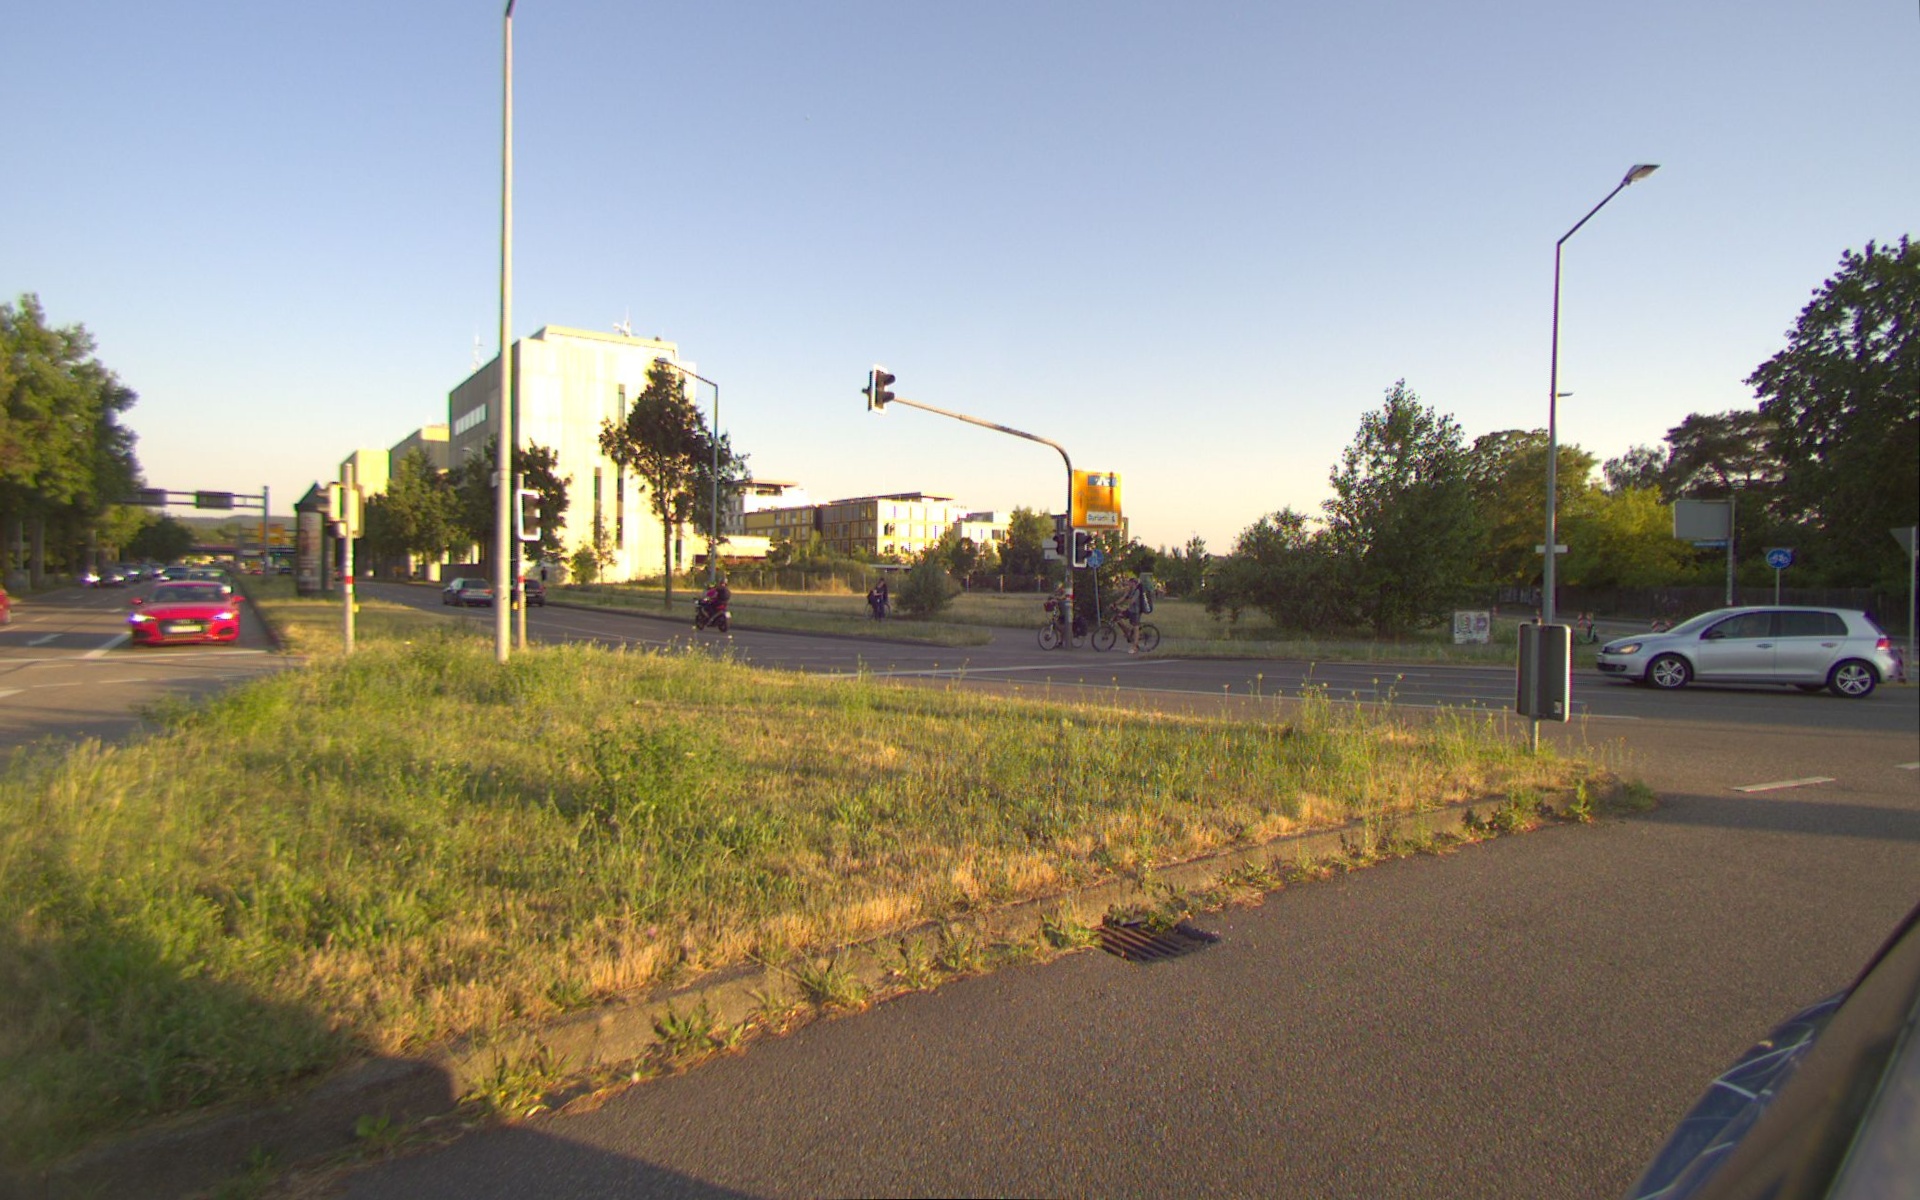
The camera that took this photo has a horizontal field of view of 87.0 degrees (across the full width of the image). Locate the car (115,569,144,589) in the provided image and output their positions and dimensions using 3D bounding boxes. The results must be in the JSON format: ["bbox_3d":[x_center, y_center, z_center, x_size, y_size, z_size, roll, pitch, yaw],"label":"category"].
[{"bbox_3d":[-66.681,-1.723,81.262,1.589,1.537,3.716,-1,2,-36],"label":"car"}]

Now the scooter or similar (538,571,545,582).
[{"bbox_3d":[-34.898,-1.938,84.415,0.242,0.925,1.039,1,1,-37],"label":"scooter or similar"}]

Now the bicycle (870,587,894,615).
[{"bbox_3d":[-3.149,0.033,40.734,0.275,1.102,1.372,1,1,-37],"label":"bicycle"}]

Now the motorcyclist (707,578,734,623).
[{"bbox_3d":[-7.838,0.010,33.088,0.592,1.426,0.627,1,1,41],"label":"motorcyclist"}]

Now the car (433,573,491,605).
[{"bbox_3d":[-25.019,-0.565,50.797,1.770,1.440,4.447,1,1,-37],"label":"car"}]

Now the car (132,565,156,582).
[{"bbox_3d":[-76.230,-2.508,94.583,1.589,1.537,3.716,-1,2,-36],"label":"car"}]

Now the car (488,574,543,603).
[{"bbox_3d":[-23.917,-0.633,54.371,1.770,1.482,3.998,1,1,-37],"label":"car"}]

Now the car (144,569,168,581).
[{"bbox_3d":[-87.483,-2.718,110.172,1.841,1.325,4.137,-1,2,-36],"label":"car"}]

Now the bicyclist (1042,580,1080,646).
[{"bbox_3d":[2.705,0.338,27.119,0.757,1.722,0.640,-3,3,-40],"label":"bicyclist"}]

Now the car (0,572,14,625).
[{"bbox_3d":[-28.547,-0.035,28.943,1.695,1.502,3.632,-1,2,-36],"label":"car"}]

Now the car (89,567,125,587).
[{"bbox_3d":[-58.414,-1.600,69.348,1.589,1.325,3.716,-1,2,-36],"label":"car"}]

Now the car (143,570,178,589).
[{"bbox_3d":[-57.881,-1.504,73.341,1.841,1.325,4.137,-1,2,-36],"label":"car"}]

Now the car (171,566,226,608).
[{"bbox_3d":[-30.931,-0.551,41.147,1.690,1.633,4.134,-1,1,-37],"label":"car"}]

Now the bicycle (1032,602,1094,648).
[{"bbox_3d":[2.769,0.645,27.122,1.894,1.098,0.456,-3,3,-40],"label":"bicycle"}]

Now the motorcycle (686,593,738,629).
[{"bbox_3d":[-8.206,0.348,33.409,2.152,1.114,0.550,2,1,42],"label":"motorcycle"}]

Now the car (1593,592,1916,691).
[{"bbox_3d":[13.619,0.647,17.669,4.001,1.499,1.880,1,1,20],"label":"car"}]

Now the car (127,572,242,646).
[{"bbox_3d":[-17.233,0.149,22.664,1.810,1.479,4.581,1,0,-35],"label":"car"}]

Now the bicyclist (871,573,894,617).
[{"bbox_3d":[-3.116,-0.206,40.732,0.527,1.765,0.843,1,1,-38],"label":"bicyclist"}]

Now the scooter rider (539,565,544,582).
[{"bbox_3d":[-34.890,-2.203,84.378,0.260,1.356,0.406,1,1,-37],"label":"scooter rider"}]

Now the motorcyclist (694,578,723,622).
[{"bbox_3d":[-8.331,0.006,33.527,0.712,1.434,0.627,1,1,41],"label":"motorcyclist"}]

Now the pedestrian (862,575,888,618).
[{"bbox_3d":[-3.177,-0.137,37.867,0.782,1.569,0.567,0,1,-37],"label":"pedestrian"}]

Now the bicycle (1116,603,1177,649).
[{"bbox_3d":[4.851,0.656,26.202,1.894,1.098,0.456,-2,2,-40],"label":"bicycle"}]

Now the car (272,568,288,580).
[{"bbox_3d":[-96.634,-3.733,143.873,1.784,1.544,4.135,1,1,-35],"label":"car"}]

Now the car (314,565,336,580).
[{"bbox_3d":[-66.652,-2.877,106.240,1.716,1.442,4.140,1,1,-29],"label":"car"}]

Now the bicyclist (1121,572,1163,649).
[{"bbox_3d":[4.711,0.248,26.195,0.894,1.921,0.640,-2,2,-40],"label":"bicyclist"}]

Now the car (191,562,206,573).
[{"bbox_3d":[-106.174,-4.524,141.086,1.589,1.471,3.716,-1,2,-36],"label":"car"}]
